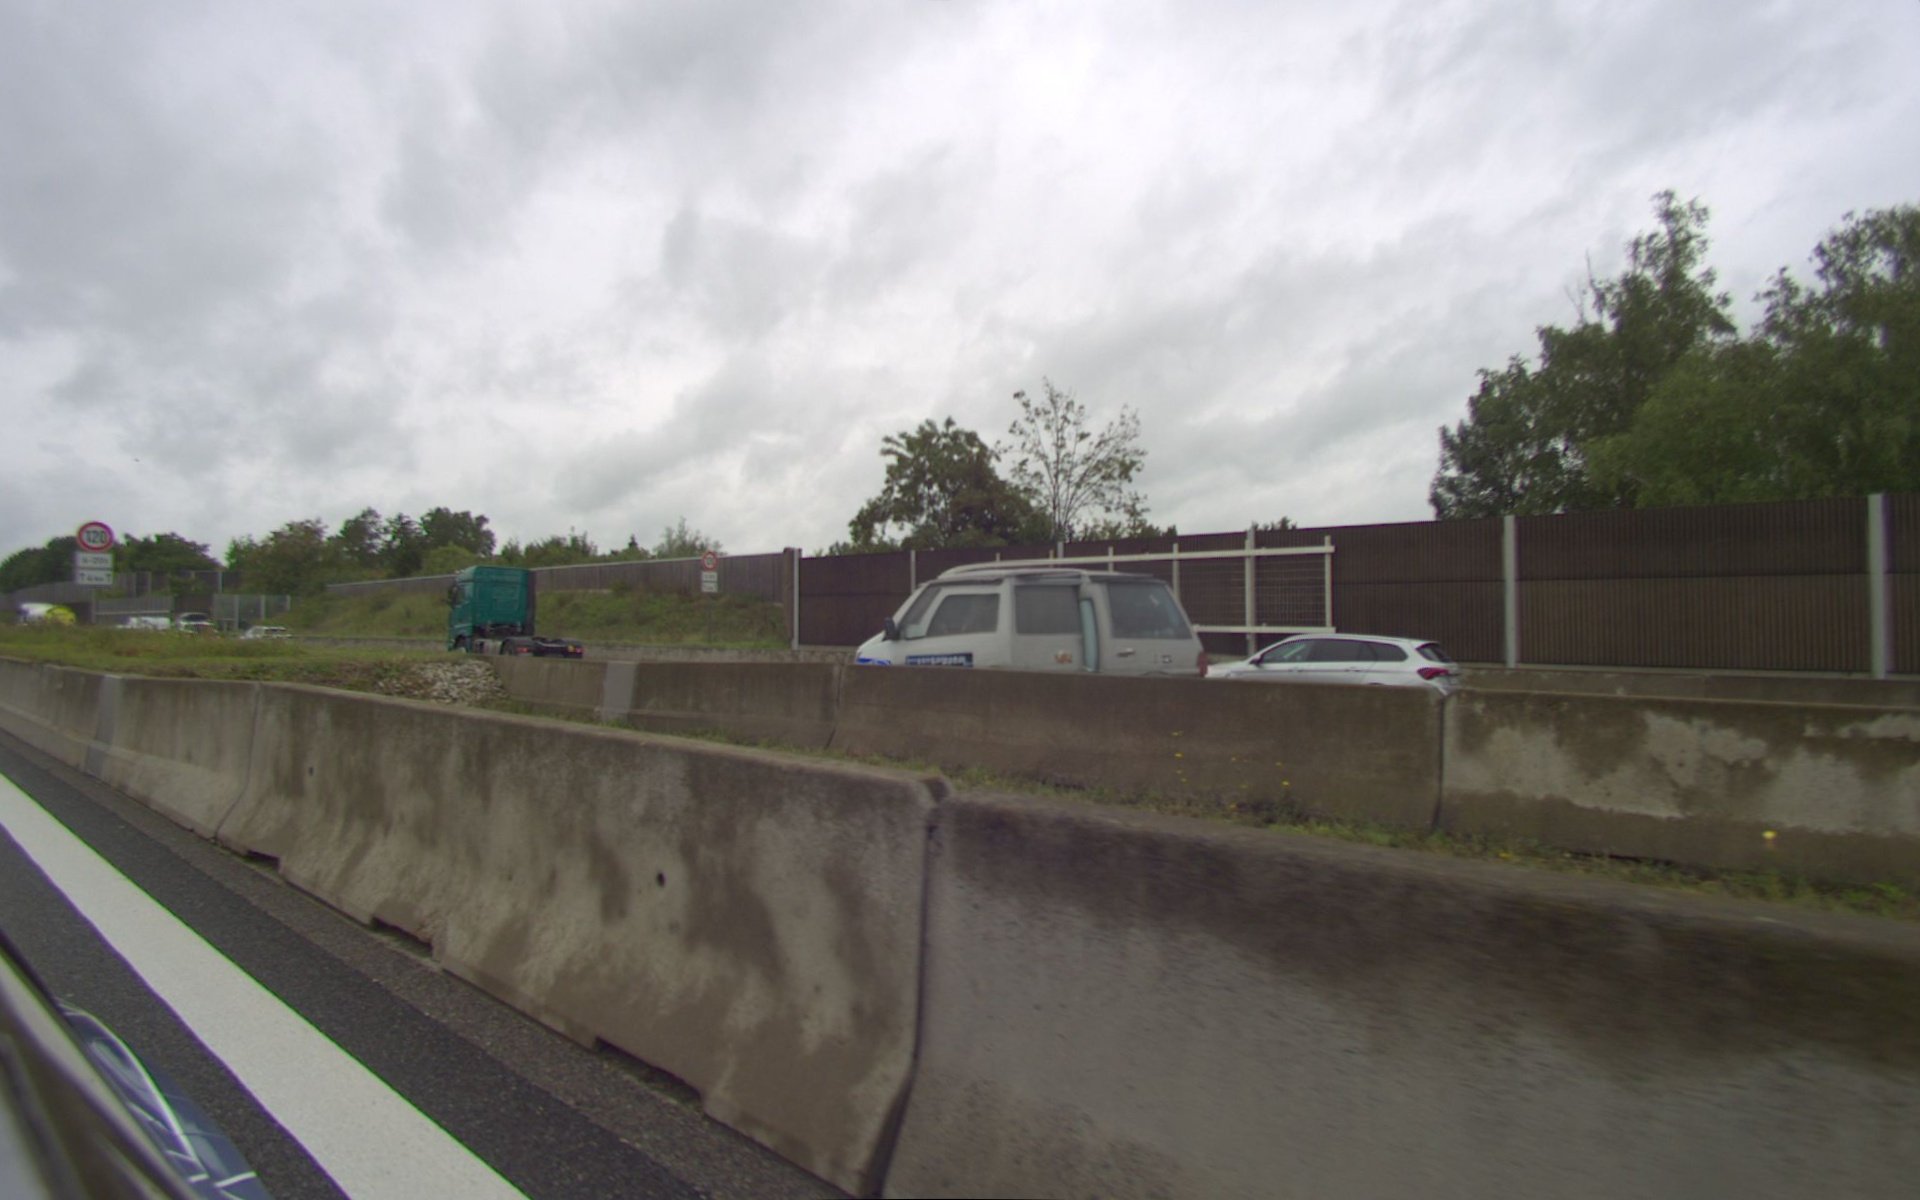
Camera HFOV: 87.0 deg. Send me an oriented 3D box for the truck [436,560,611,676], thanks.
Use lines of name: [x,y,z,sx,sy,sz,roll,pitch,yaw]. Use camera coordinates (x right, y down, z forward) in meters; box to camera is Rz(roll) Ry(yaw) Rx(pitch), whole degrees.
truck: [-16.133,0.632,37.134,7.517,3.867,2.833,-1,0,40]

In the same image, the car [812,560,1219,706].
car: [0.636,0.514,17.159,7.055,2.029,2.191,-1,-1,41]

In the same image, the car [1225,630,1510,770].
car: [6.719,1.526,16.882,3.997,1.996,1.973,-1,-1,40]

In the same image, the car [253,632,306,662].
car: [-37.131,2.535,55.183,3.295,1.502,1.635,-1,0,42]

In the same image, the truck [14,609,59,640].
truck: [-93.731,2.455,102.667,5.608,3.042,2.595,-1,0,40]

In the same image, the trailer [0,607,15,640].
trailer: [-91.896,2.254,95.421,10.562,2.981,2.925,-1,0,41]

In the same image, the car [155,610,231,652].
car: [-38.890,1.537,51.272,5.615,2.029,1.973,-1,-1,41]

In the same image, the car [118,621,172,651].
car: [-56.880,2.494,70.597,5.950,2.029,1.887,-1,-1,41]

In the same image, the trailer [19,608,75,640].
trailer: [-89.382,2.335,99.008,10.787,3.012,2.585,-1,-1,40]
